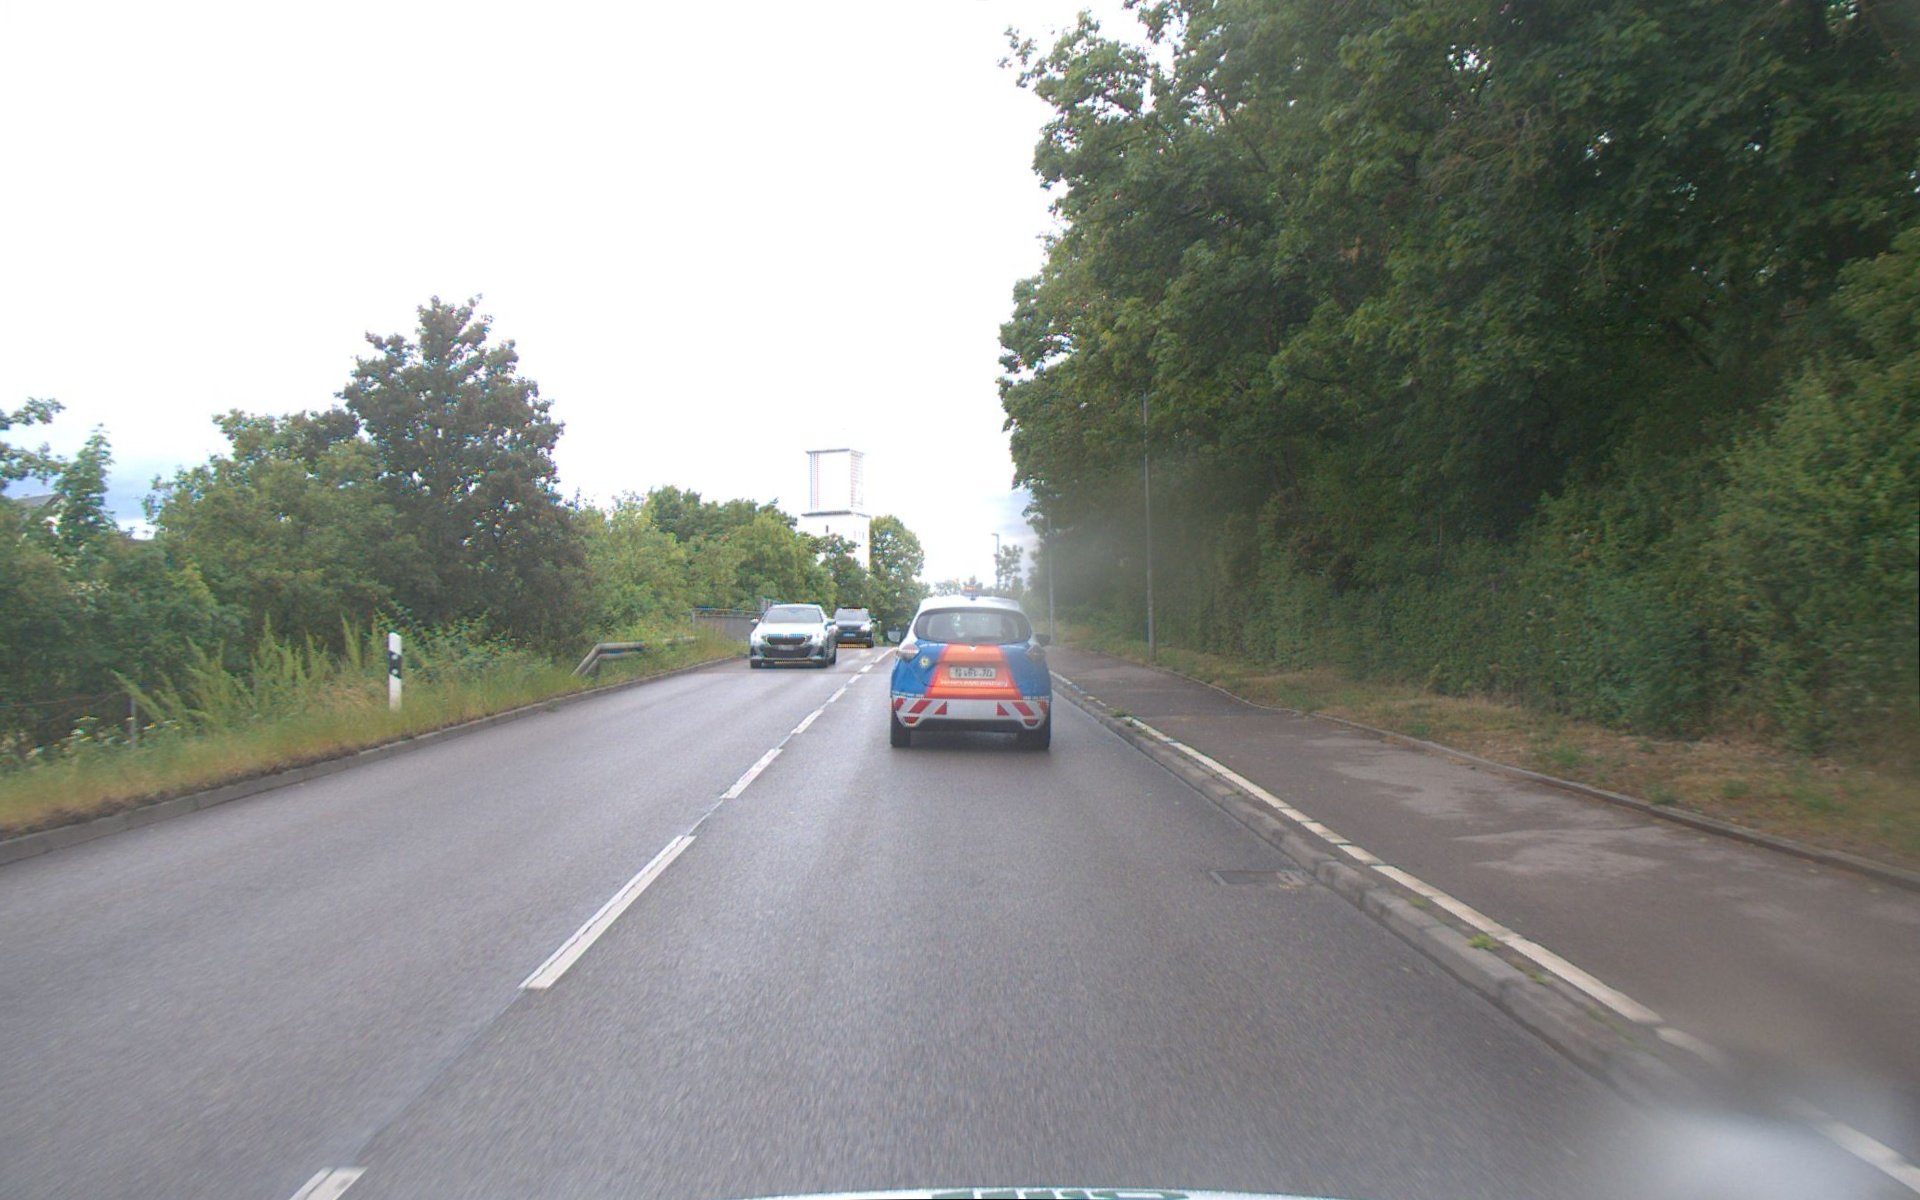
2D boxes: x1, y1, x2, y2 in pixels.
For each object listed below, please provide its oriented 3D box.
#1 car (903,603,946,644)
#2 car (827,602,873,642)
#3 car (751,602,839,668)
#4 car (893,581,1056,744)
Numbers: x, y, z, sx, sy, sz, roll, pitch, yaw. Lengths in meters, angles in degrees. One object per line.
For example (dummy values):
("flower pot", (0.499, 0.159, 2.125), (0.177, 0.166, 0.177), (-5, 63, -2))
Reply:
("car", (-1.505, 0.985, 70.002), (1.766, 1.618, 3.562), (-2, -1, -1))
("car", (-4.458, 0.877, 67.505), (1.695, 1.613, 4.079), (0, 0, -2))
("car", (-4.053, 0.827, 41.161), (1.824, 1.530, 4.727), (0, 0, -1))
("car", (0.110, 0.658, 18.307), (1.624, 1.621, 3.567), (0, -1, -1))
